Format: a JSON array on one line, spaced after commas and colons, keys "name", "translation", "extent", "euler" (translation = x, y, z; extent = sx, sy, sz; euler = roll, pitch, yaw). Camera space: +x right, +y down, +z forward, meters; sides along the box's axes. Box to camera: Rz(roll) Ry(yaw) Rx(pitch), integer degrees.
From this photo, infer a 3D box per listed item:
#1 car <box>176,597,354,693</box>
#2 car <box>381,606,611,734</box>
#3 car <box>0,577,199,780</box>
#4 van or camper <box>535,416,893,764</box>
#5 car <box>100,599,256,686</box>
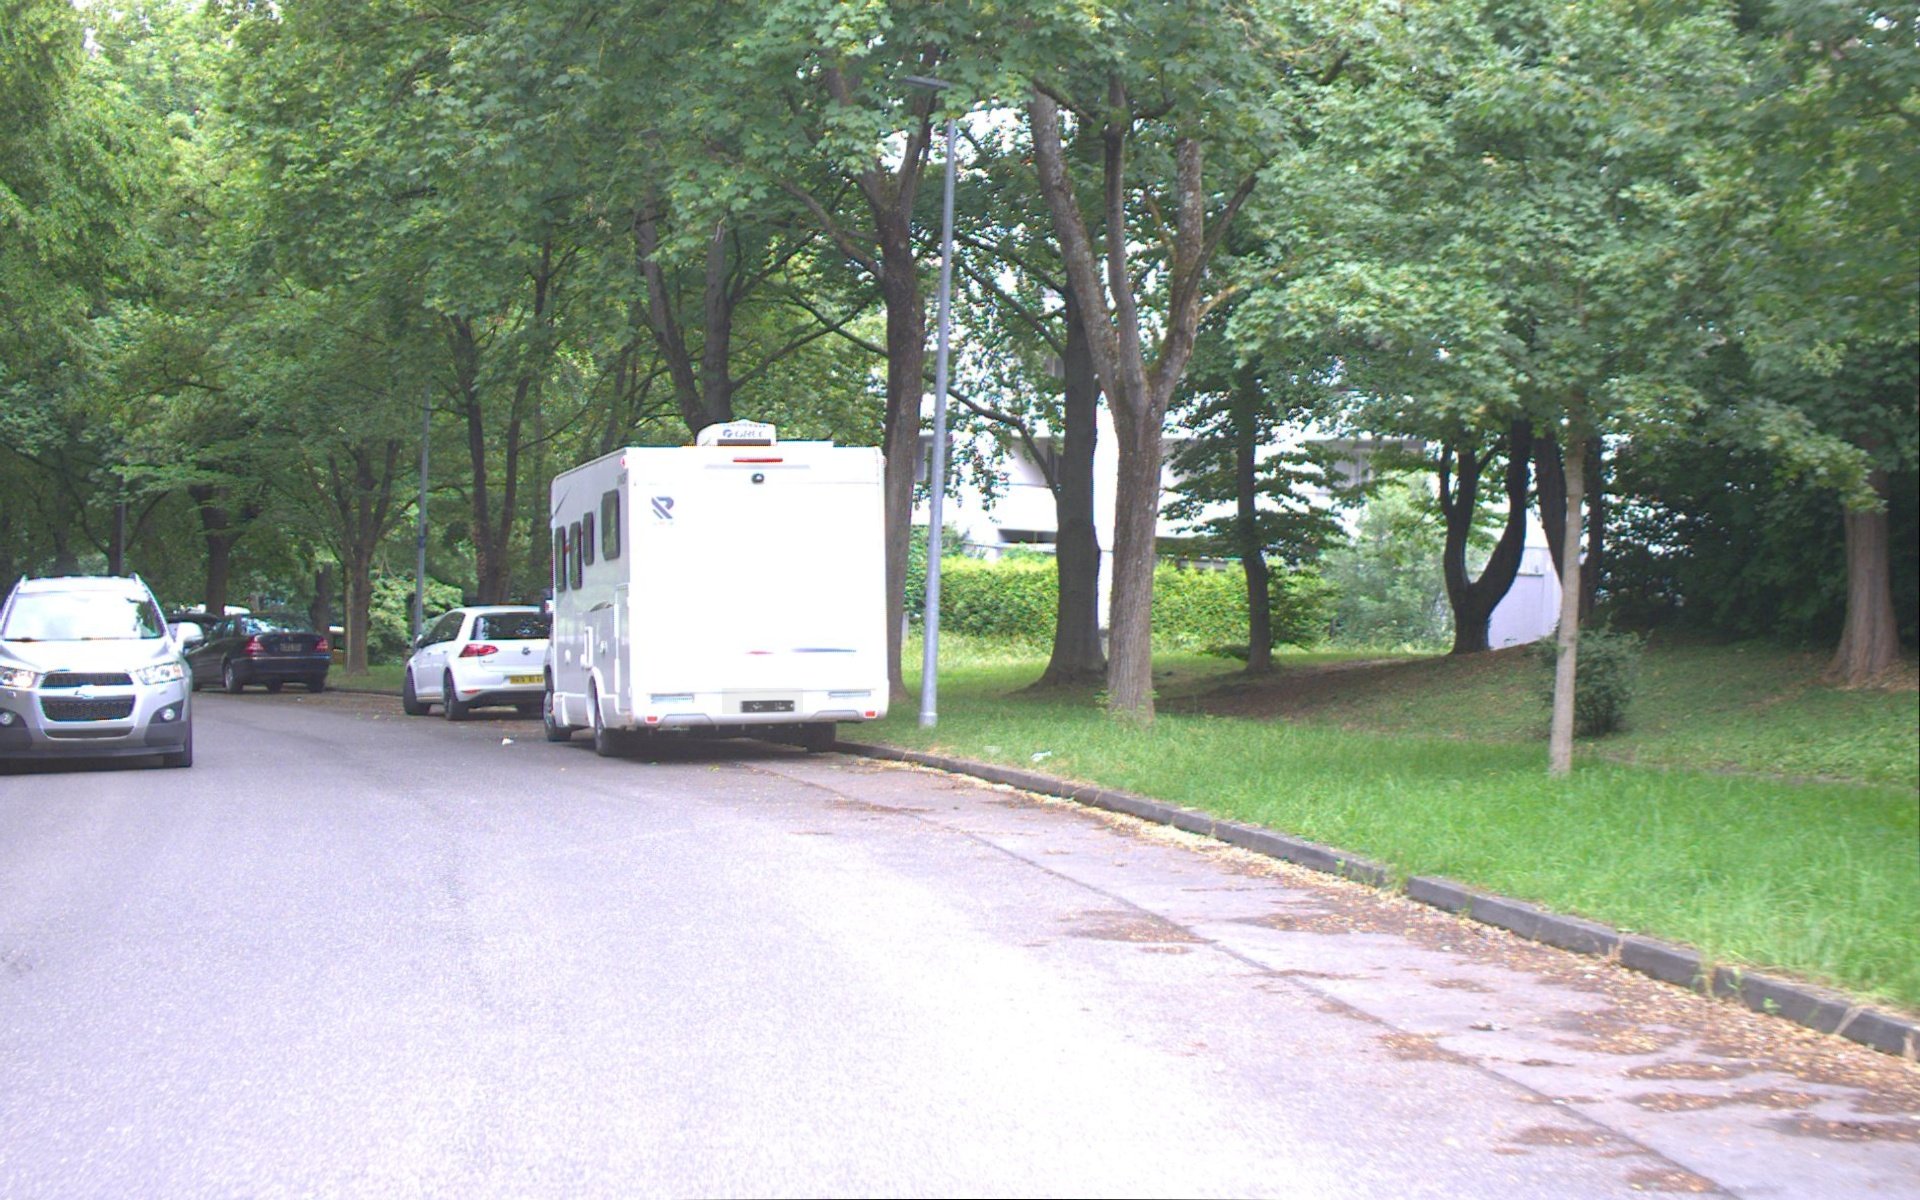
[{"name": "car", "translation": [-12.288, 0.772, 60.638], "extent": [1.993, 1.495, 4.001], "euler": [2, 0, -28]}, {"name": "car", "translation": [-6.141, 0.890, 45.147], "extent": [1.993, 1.468, 4.001], "euler": [2, 0, -22]}, {"name": "car", "translation": [-8.005, 0.648, 31.427], "extent": [1.857, 1.658, 4.572], "euler": [-2, 1, -14]}, {"name": "van or camper", "translation": [-2.433, -0.136, 32.402], "extent": [2.428, 2.997, 5.210], "euler": [0, 1, -15]}, {"name": "car", "translation": [-15.060, 0.799, 66.100], "extent": [1.993, 1.608, 4.000], "euler": [0, 0, -27]}]
